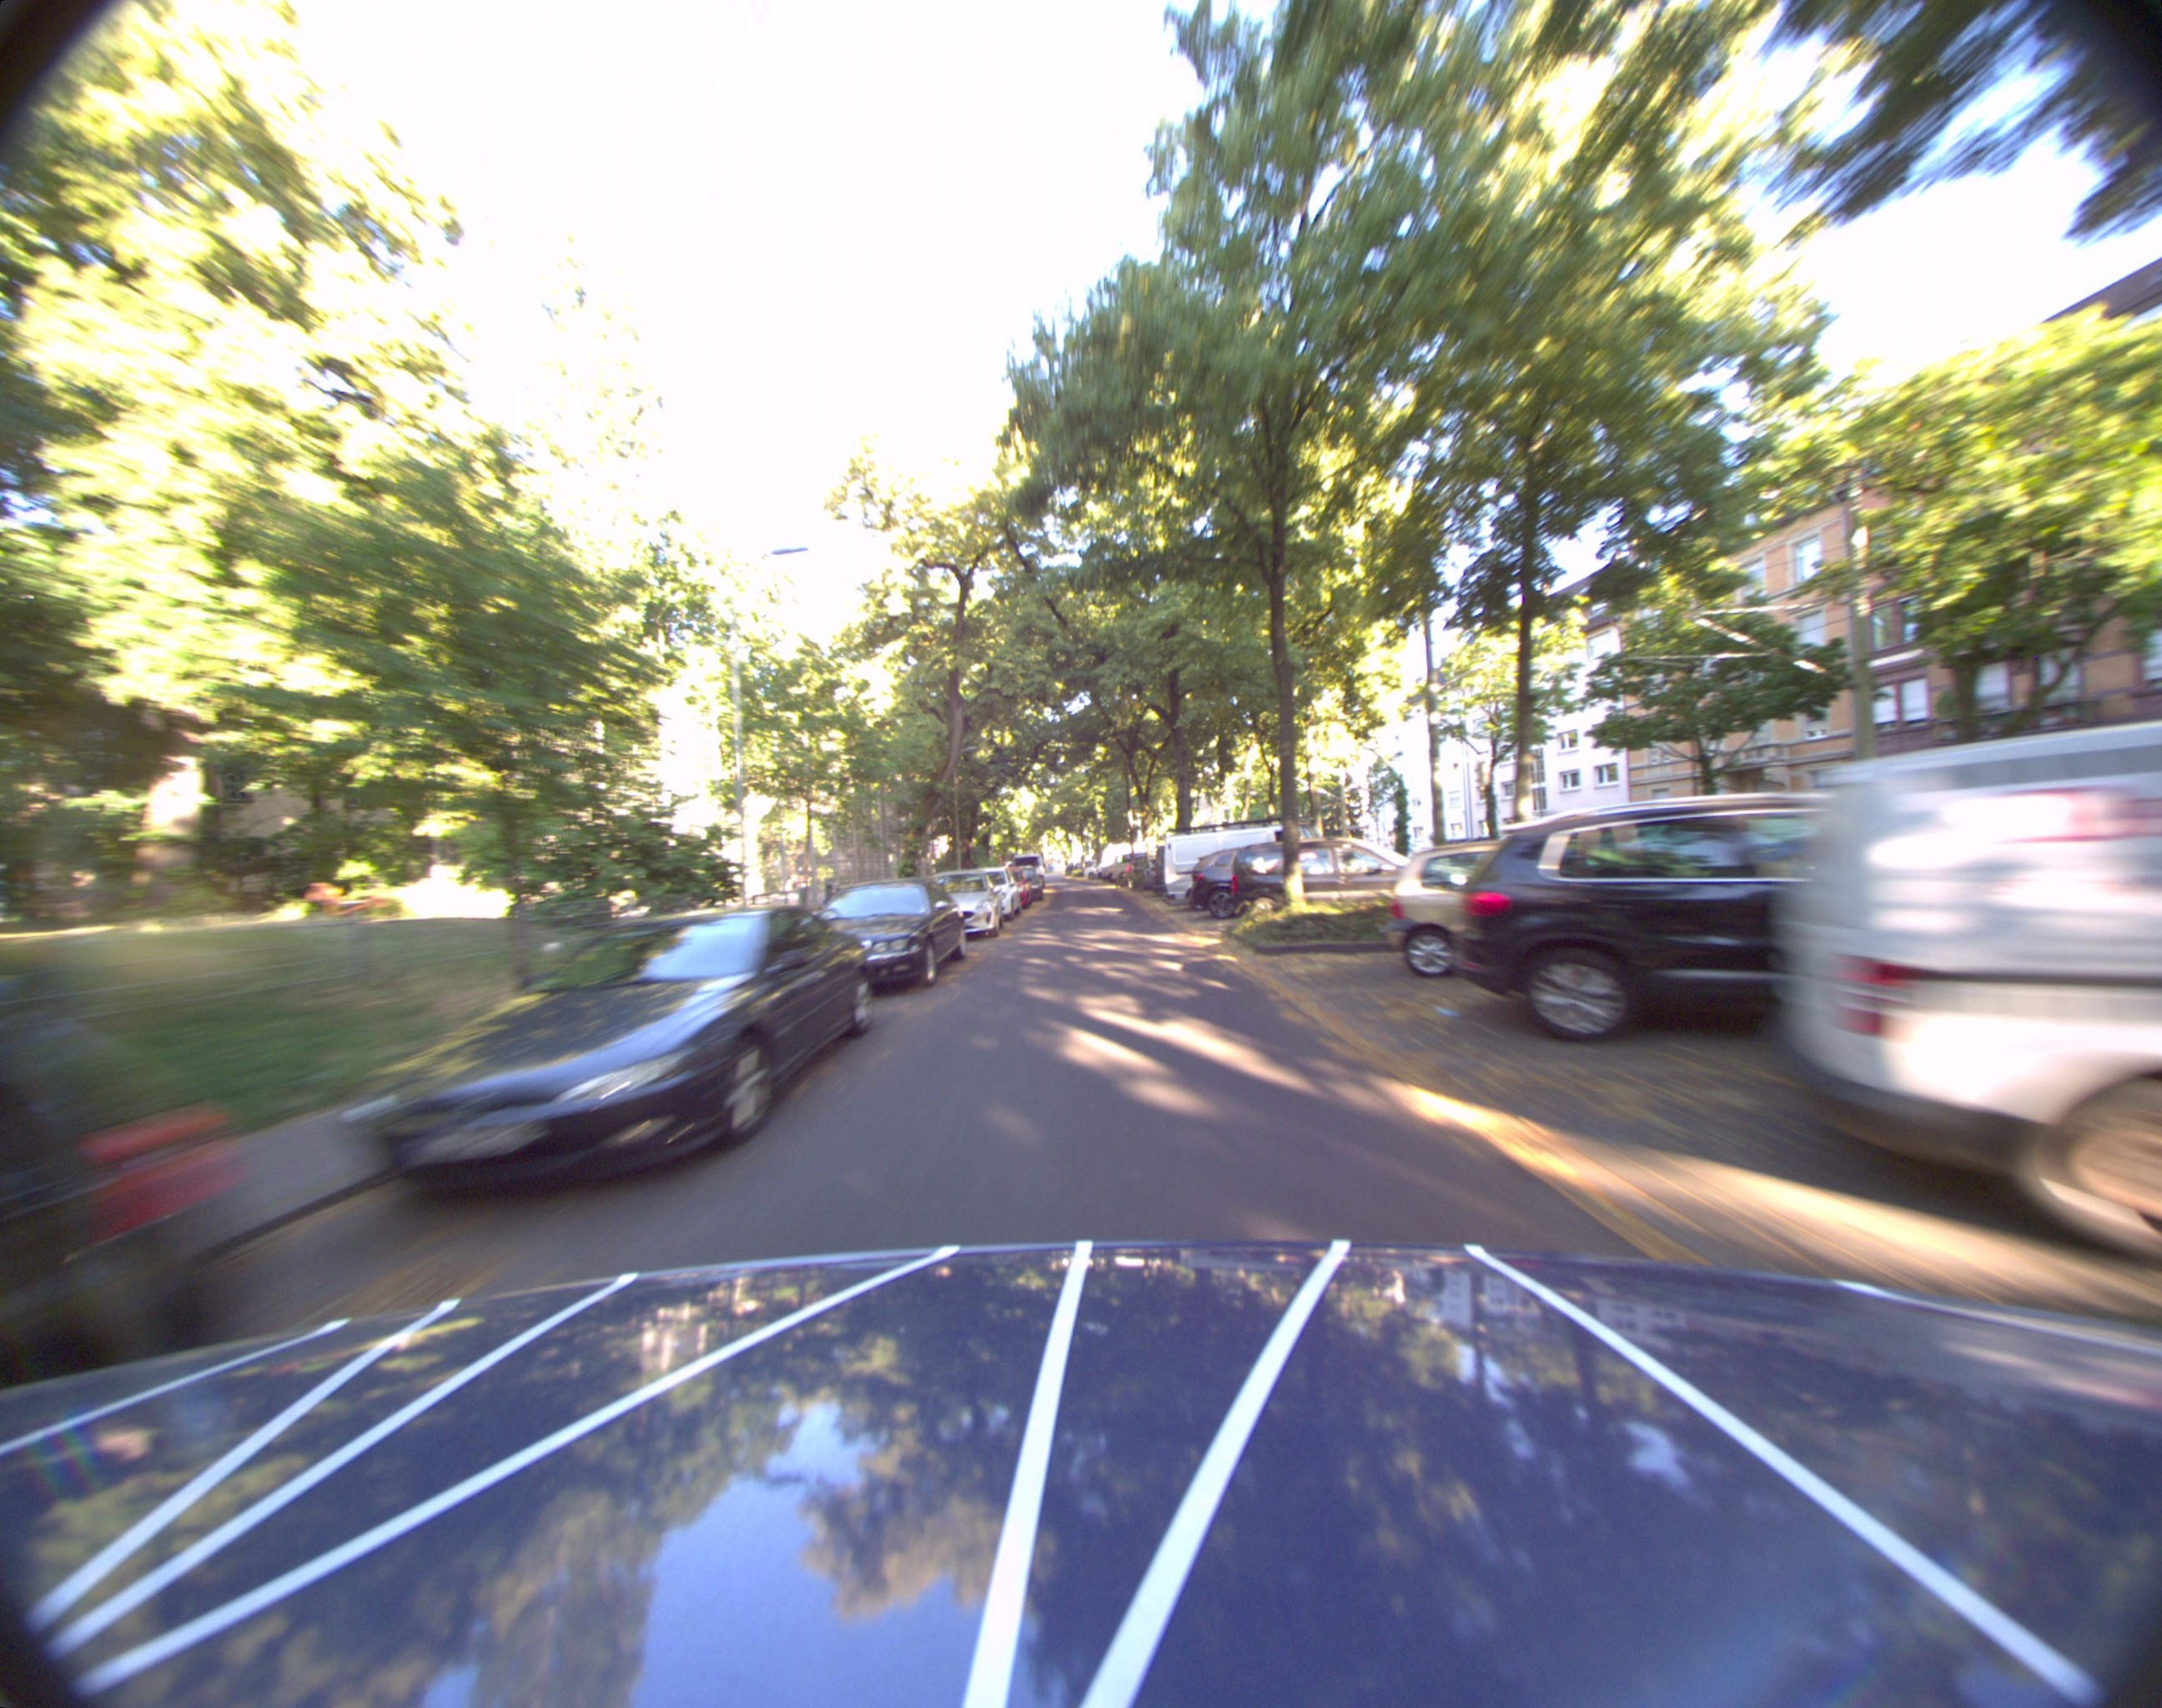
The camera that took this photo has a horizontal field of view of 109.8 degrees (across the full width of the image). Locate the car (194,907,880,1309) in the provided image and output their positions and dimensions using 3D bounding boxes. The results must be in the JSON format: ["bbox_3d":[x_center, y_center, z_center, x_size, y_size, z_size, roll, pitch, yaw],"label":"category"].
[{"bbox_3d":[-2.796,1.191,5.273,1.685,1.275,4.287,-3,0,-1],"label":"car"}]

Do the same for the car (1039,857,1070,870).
[{"bbox_3d":[-4.084,1.485,117.316,4.435,1.613,1.636,-6,1,15],"label":"car"}]

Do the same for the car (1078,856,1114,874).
[{"bbox_3d":[1.574,1.202,81.098,3.346,1.558,1.574,-6,-1,23],"label":"car"}]

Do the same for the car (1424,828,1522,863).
[{"bbox_3d":[20.133,-0.407,39.071,4.313,1.573,1.910,-2,0,32],"label":"car"}]

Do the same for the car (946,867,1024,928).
[{"bbox_3d":[-2.659,1.169,21.876,1.685,1.445,4.076,-3,0,-1],"label":"car"}]

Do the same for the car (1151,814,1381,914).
[{"bbox_3d":[4.915,0.310,20.443,5.502,2.124,2.084,-6,0,29],"label":"car"}]

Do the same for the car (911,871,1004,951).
[{"bbox_3d":[-2.642,1.169,17.066,1.685,1.445,4.074,-3,0,-5],"label":"car"}]

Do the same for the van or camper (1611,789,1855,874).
[{"bbox_3d":[20.616,-0.640,24.448,5.538,2.357,2.311,-2,0,27],"label":"van or camper"}]

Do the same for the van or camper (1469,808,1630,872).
[{"bbox_3d":[20.144,-0.558,33.028,5.664,2.454,2.003,-2,0,23],"label":"van or camper"}]

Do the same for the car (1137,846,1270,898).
[{"bbox_3d":[4.691,0.709,29.395,4.561,1.532,1.938,-6,0,32],"label":"car"}]

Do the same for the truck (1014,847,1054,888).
[{"bbox_3d":[-3.088,0.858,50.763,2.302,2.372,6.932,-3,0,-3],"label":"truck"}]

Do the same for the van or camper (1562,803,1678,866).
[{"bbox_3d":[28.349,-0.958,40.249,2.080,3.091,5.513,0,0,-2],"label":"van or camper"}]

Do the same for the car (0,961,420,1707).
[{"bbox_3d":[-2.957,1.128,0.212,1.684,1.517,4.287,-3,0,1],"label":"car"}]

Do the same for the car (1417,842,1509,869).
[{"bbox_3d":[20.761,0.044,41.294,4.312,1.377,1.910,1,1,31],"label":"car"}]

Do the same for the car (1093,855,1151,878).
[{"bbox_3d":[3.383,1.028,62.897,4.235,1.432,1.859,-6,0,24],"label":"car"}]

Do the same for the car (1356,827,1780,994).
[{"bbox_3d":[5.023,0.614,8.274,3.420,1.417,1.837,-6,0,31],"label":"car"}]

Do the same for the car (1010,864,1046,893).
[{"bbox_3d":[-2.930,1.327,42.603,1.676,1.389,4.298,-3,0,-1],"label":"car"}]

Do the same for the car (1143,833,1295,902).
[{"bbox_3d":[4.798,0.487,26.632,4.702,1.931,1.938,-6,0,32],"label":"car"}]

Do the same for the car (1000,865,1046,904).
[{"bbox_3d":[-2.421,1.261,32.425,1.677,1.445,3.948,-3,0,-2],"label":"car"}]

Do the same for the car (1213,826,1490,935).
[{"bbox_3d":[5.025,0.530,14.320,4.509,1.607,1.857,-6,0,32],"label":"car"}]

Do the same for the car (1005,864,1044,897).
[{"bbox_3d":[-2.740,1.254,37.709,1.677,1.445,3.948,-3,0,-2],"label":"car"}]

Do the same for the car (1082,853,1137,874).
[{"bbox_3d":[2.589,0.873,69.125,4.456,1.396,1.860,-6,-1,24],"label":"car"}]

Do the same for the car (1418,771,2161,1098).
[{"bbox_3d":[4.867,0.500,5.403,4.151,1.634,1.918,-6,0,33],"label":"car"}]

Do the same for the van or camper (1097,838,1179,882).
[{"bbox_3d":[3.808,0.381,50.987,4.875,2.456,2.048,-5,0,26],"label":"van or camper"}]

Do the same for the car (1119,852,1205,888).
[{"bbox_3d":[4.136,0.840,38.853,3.816,1.430,1.828,-6,0,33],"label":"car"}]

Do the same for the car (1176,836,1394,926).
[{"bbox_3d":[4.724,0.622,17.623,4.510,1.607,1.937,-6,0,24],"label":"car"}]

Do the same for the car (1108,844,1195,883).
[{"bbox_3d":[4.392,0.630,47.704,4.875,1.966,2.048,-5,0,28],"label":"car"}]

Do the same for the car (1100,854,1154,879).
[{"bbox_3d":[3.466,0.963,57.212,3.543,1.485,1.828,-6,0,28],"label":"car"}]

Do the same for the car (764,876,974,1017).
[{"bbox_3d":[-2.779,1.139,11.123,1.684,1.415,4.659,-3,0,0],"label":"car"}]

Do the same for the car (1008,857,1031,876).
[{"bbox_3d":[-6.879,1.388,84.514,1.972,1.924,5.451,-3,0,-11],"label":"car"}]

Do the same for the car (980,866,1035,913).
[{"bbox_3d":[-2.566,1.202,27.221,1.595,1.445,3.554,-3,0,-1],"label":"car"}]

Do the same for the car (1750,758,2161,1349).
[{"bbox_3d":[4.878,0.452,2.212,4.150,1.771,1.887,-6,0,37],"label":"car"}]
